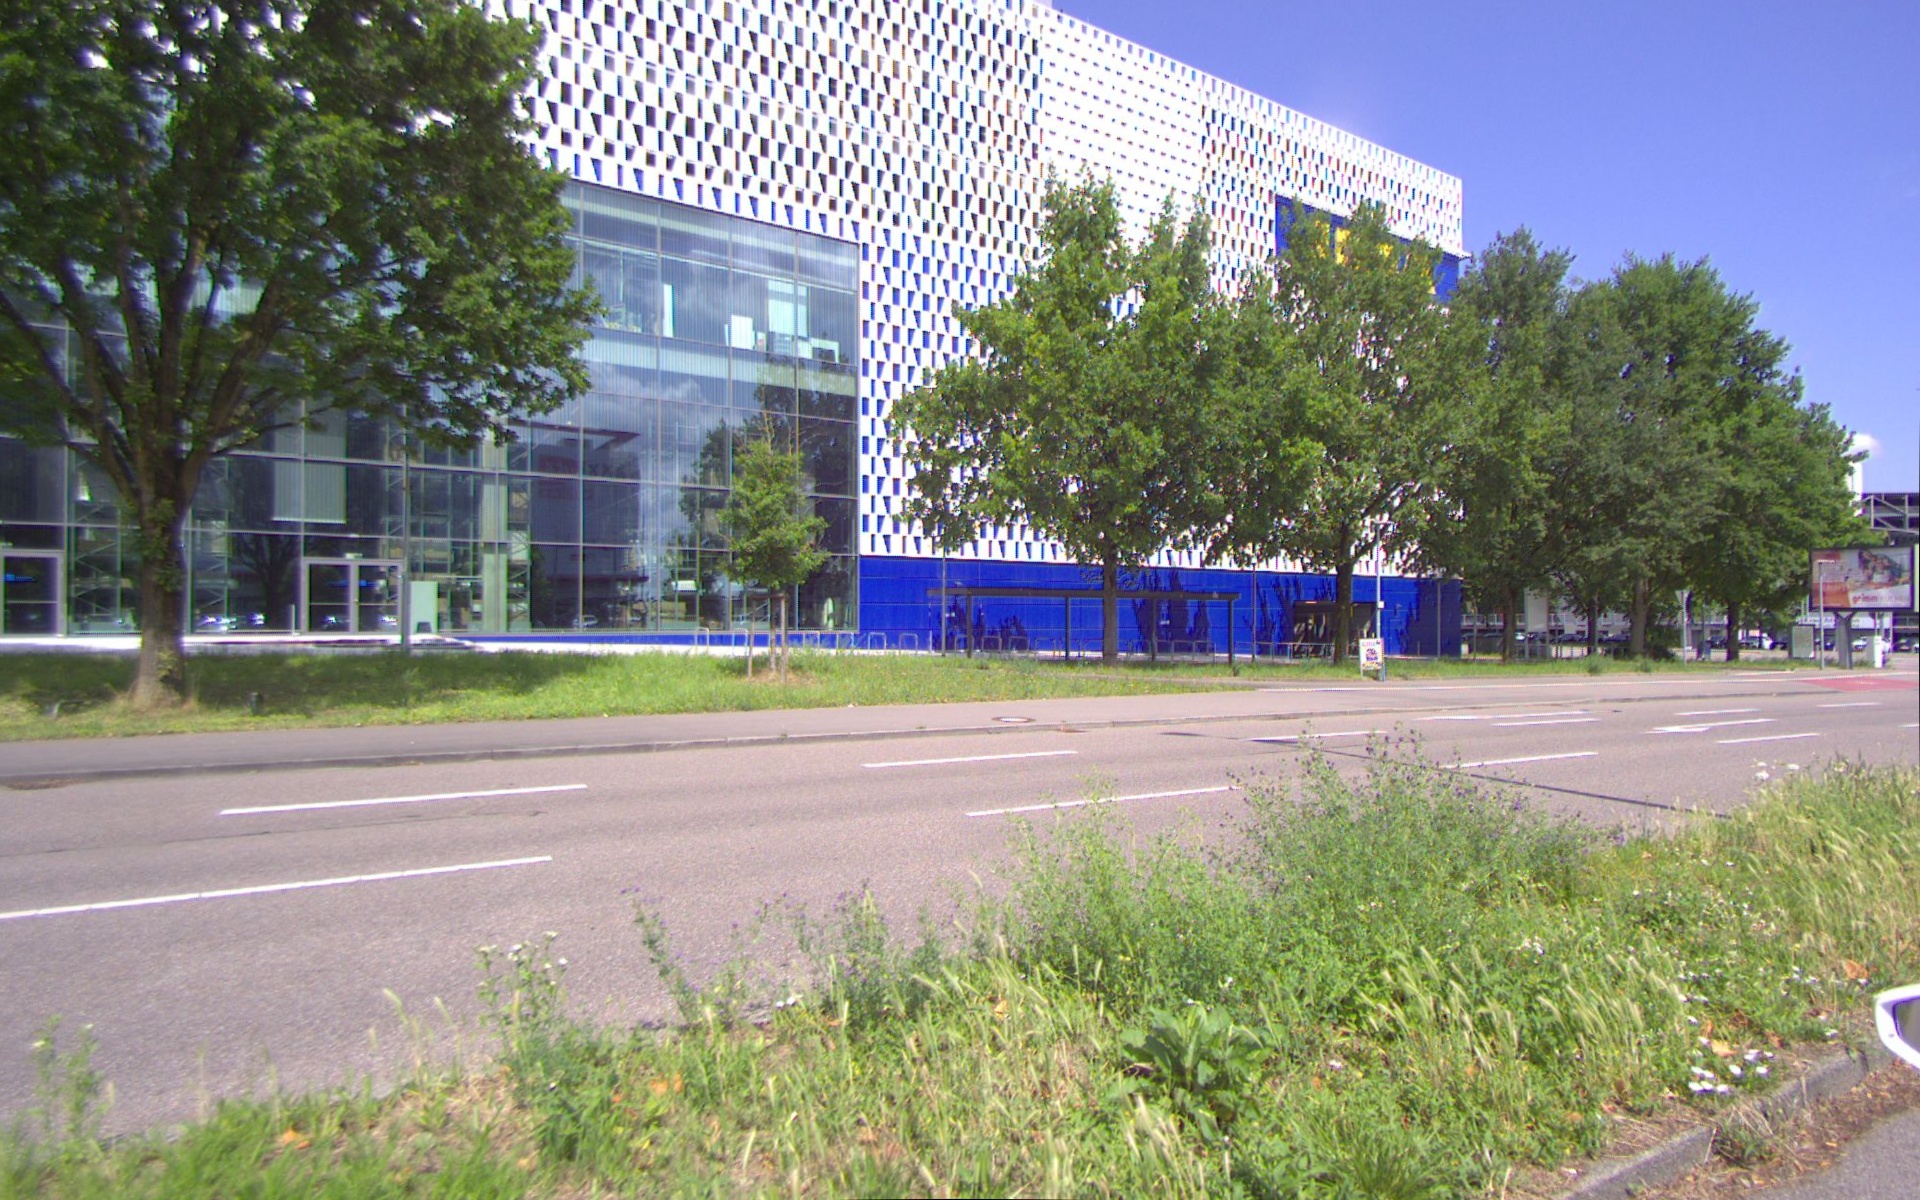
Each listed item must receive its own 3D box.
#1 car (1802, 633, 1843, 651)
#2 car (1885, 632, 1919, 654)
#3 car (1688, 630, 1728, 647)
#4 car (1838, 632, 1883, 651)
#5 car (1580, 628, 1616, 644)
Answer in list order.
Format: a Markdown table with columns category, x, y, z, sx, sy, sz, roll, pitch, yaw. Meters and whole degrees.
| category | x | y | z | sx | sy | sz | roll | pitch | yaw |
| --- | --- | --- | --- | --- | --- | --- | --- | --- | --- |
| car | 74.565 | 3.619 | 86.866 | 3.660 | 1.506 | 1.718 | 1 | 0 | -32 |
| car | 77.306 | 3.520 | 82.020 | 3.577 | 1.682 | 1.747 | 1 | 0 | -33 |
| car | 69.089 | 3.510 | 92.767 | 3.662 | 1.508 | 1.826 | 1 | 0 | -34 |
| car | 75.869 | 3.516 | 84.611 | 3.660 | 1.506 | 1.869 | 1 | 0 | -32 |
| car | 65.738 | 3.694 | 103.470 | 3.660 | 1.506 | 1.718 | 1 | 0 | -32 |
